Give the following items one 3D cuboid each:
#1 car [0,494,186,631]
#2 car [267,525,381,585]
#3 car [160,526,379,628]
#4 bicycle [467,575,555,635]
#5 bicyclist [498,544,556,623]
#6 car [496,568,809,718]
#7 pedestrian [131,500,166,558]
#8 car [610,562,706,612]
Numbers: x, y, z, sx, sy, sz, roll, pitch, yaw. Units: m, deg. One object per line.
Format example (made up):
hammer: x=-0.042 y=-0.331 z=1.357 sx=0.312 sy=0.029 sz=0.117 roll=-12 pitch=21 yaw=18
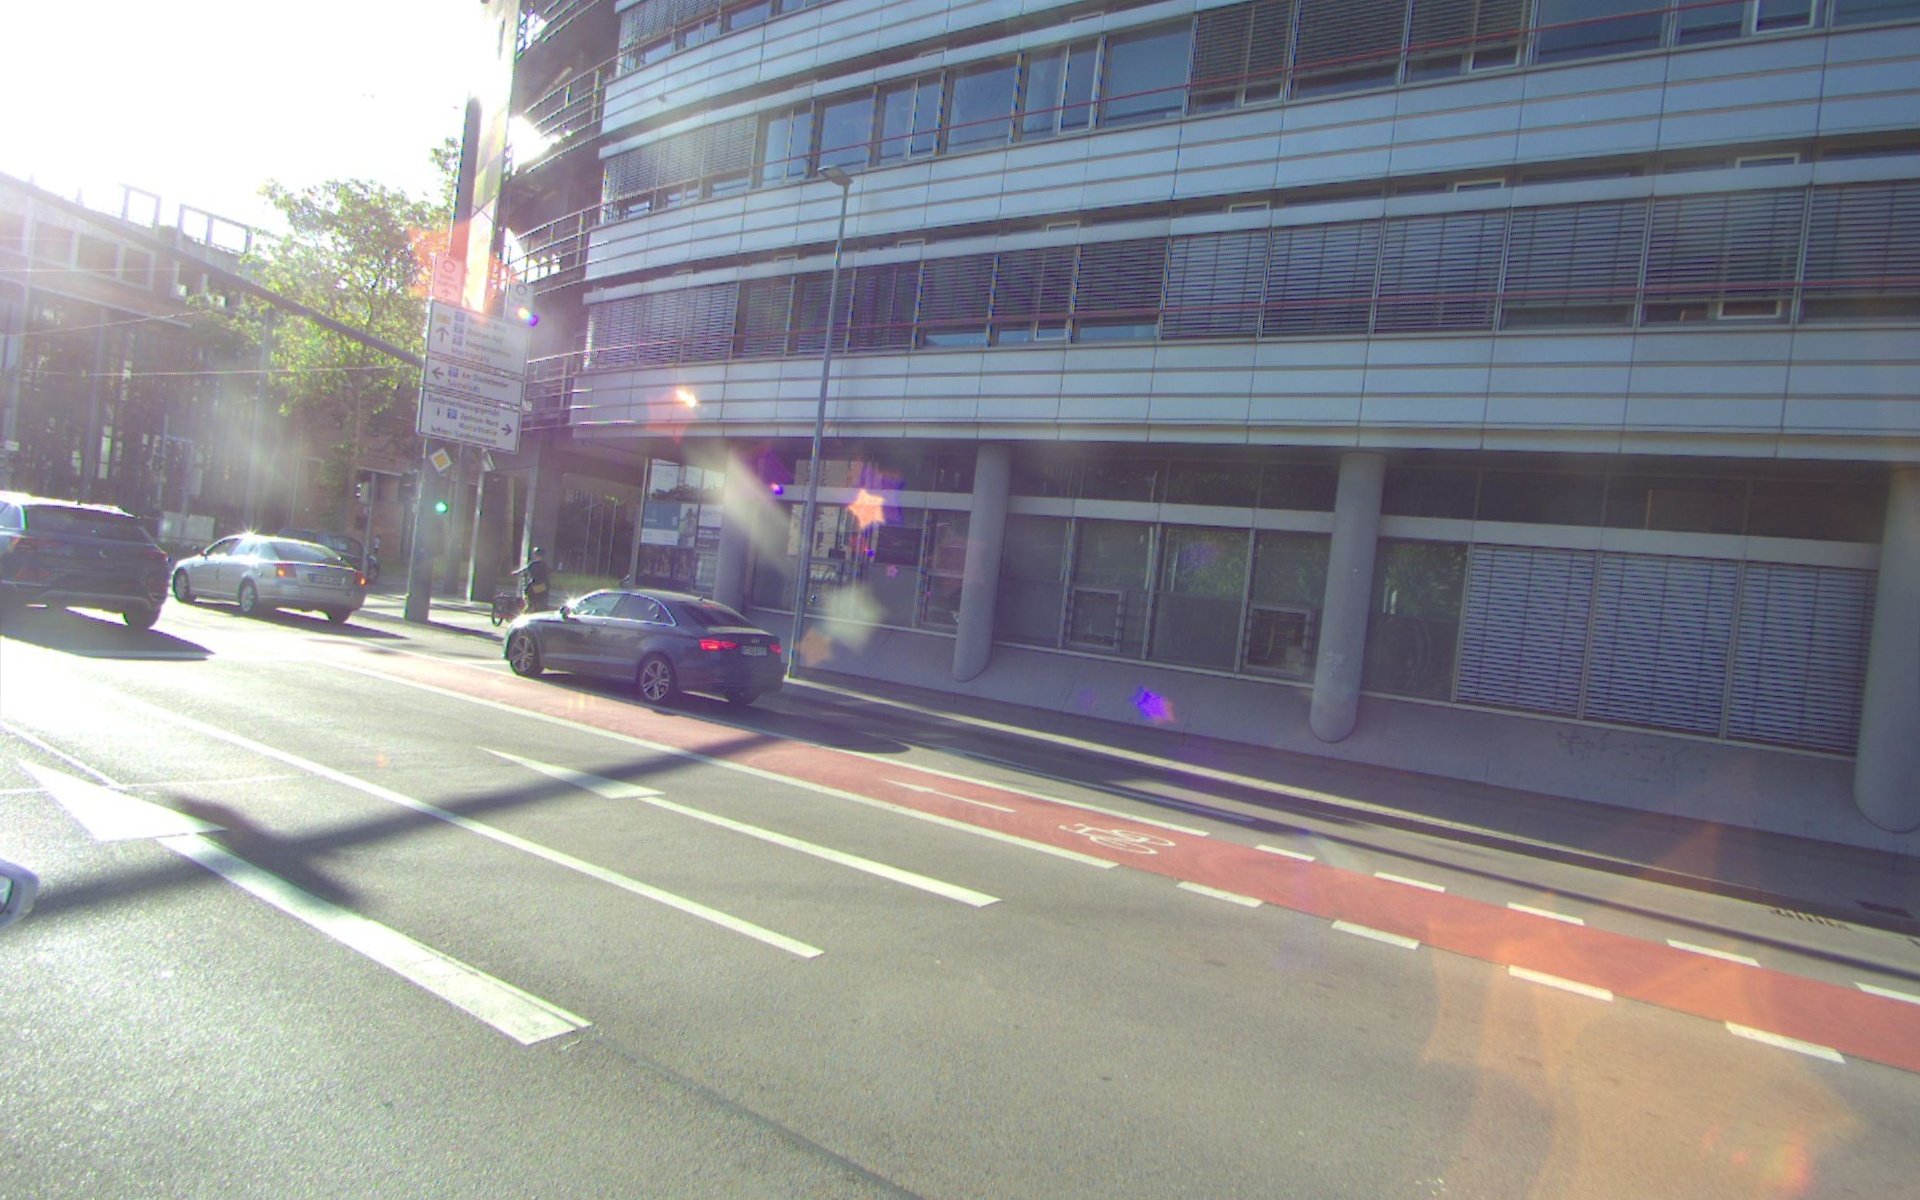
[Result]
car: x=-12.366 y=-0.592 z=13.481 sx=3.815 sy=1.523 sz=1.747 roll=7 pitch=0 yaw=30
car: x=-21.486 y=-1.455 z=34.182 sx=1.666 sy=1.648 sz=4.453 roll=7 pitch=-1 yaw=-12
car: x=-13.418 y=-0.472 z=19.485 sx=4.414 sy=1.448 sz=1.753 roll=7 pitch=0 yaw=31
bicycle: x=-9.651 y=0.105 z=21.581 sx=2.169 sy=1.045 sz=0.499 roll=7 pitch=0 yaw=31
bicyclist: x=-9.225 y=-0.352 z=21.426 sx=1.026 sy=1.589 sz=0.624 roll=6 pitch=5 yaw=32
car: x=-4.255 y=0.534 z=13.778 sx=4.041 sy=1.459 sz=1.712 roll=7 pitch=0 yaw=30
pedestrian: x=-26.280 y=-2.288 z=32.582 sx=0.701 sy=1.781 sz=0.556 roll=6 pitch=1 yaw=-33
car: x=-13.446 y=-0.529 z=45.013 sx=1.832 sy=1.670 sz=4.000 roll=7 pitch=-2 yaw=24
